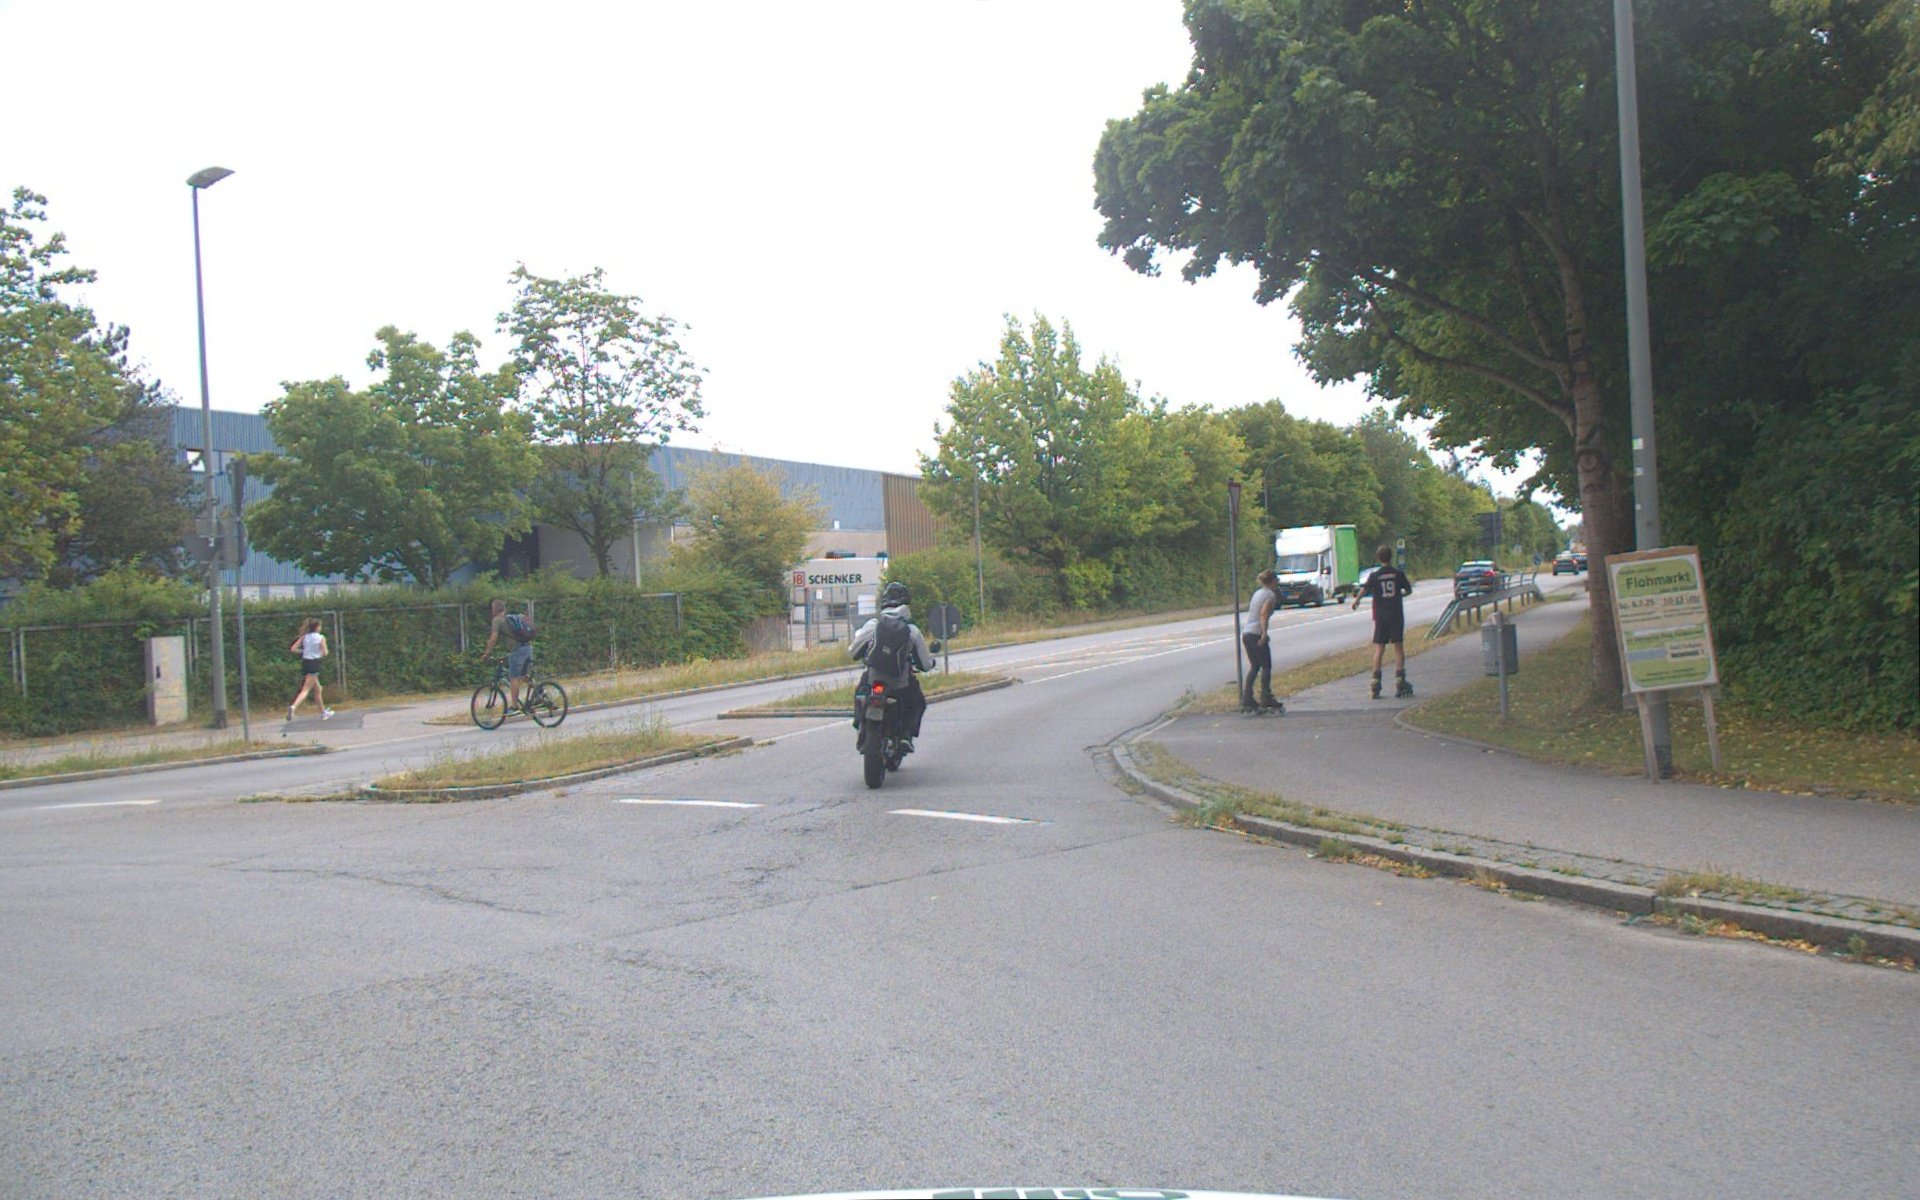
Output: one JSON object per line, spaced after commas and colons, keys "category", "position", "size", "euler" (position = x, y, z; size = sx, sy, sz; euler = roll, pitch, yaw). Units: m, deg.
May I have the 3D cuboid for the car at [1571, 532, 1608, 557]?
{"category": "car", "position": [54.186, -4.783, 142.233], "size": [2.463, 1.981, 5.708], "euler": [-3, 1, 25]}

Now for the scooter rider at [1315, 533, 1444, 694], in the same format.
{"category": "scooter rider", "position": [5.417, 0.166, 21.339], "size": [1.200, 1.942, 1.126], "euler": [-4, 0, 32]}

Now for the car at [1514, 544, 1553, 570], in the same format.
{"category": "car", "position": [49.495, -3.740, 142.622], "size": [2.463, 1.981, 5.708], "euler": [-3, 1, 25]}

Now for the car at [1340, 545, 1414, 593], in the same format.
{"category": "car", "position": [21.517, -1.645, 85.155], "size": [2.626, 2.211, 5.997], "euler": [-3, 1, 24]}

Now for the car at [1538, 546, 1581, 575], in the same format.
{"category": "car", "position": [45.500, -3.020, 125.471], "size": [2.463, 1.981, 5.708], "euler": [-3, 1, 25]}

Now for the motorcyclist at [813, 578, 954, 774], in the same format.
{"category": "motorcyclist", "position": [-0.672, 0.657, 14.950], "size": [0.843, 1.651, 1.191], "euler": [-3, 1, 17]}

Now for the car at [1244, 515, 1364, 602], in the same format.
{"category": "car", "position": [14.521, -1.765, 69.361], "size": [3.108, 3.260, 7.628], "euler": [-3, 0, 25]}

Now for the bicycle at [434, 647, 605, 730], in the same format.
{"category": "bicycle", "position": [-6.299, 1.244, 23.614], "size": [2.449, 1.108, 0.770], "euler": [-1, 1, 26]}

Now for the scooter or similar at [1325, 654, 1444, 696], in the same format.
{"category": "scooter or similar", "position": [5.484, 0.966, 21.332], "size": [1.199, 0.387, 1.126], "euler": [-5, 0, 31]}

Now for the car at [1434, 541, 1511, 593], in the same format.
{"category": "car", "position": [21.908, -1.437, 70.503], "size": [2.462, 1.981, 5.710], "euler": [-3, 1, 23]}

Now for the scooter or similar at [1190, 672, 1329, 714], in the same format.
{"category": "scooter or similar", "position": [3.551, 1.095, 19.610], "size": [1.213, 0.370, 1.087], "euler": [-4, 1, -34]}

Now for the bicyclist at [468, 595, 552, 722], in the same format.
{"category": "bicyclist", "position": [-6.435, 0.831, 23.653], "size": [0.898, 1.752, 0.658], "euler": [-2, 0, 26]}

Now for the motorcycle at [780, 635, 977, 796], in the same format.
{"category": "motorcycle", "position": [-0.669, 0.988, 14.931], "size": [0.878, 1.178, 2.622], "euler": [-3, 1, 17]}

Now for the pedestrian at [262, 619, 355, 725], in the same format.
{"category": "pedestrian", "position": [-10.240, 1.120, 26.028], "size": [0.770, 1.571, 1.043], "euler": [-3, 1, 29]}

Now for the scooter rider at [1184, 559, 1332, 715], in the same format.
{"category": "scooter rider", "position": [3.530, 0.425, 19.605], "size": [1.230, 1.700, 1.087], "euler": [-5, 2, -34]}
